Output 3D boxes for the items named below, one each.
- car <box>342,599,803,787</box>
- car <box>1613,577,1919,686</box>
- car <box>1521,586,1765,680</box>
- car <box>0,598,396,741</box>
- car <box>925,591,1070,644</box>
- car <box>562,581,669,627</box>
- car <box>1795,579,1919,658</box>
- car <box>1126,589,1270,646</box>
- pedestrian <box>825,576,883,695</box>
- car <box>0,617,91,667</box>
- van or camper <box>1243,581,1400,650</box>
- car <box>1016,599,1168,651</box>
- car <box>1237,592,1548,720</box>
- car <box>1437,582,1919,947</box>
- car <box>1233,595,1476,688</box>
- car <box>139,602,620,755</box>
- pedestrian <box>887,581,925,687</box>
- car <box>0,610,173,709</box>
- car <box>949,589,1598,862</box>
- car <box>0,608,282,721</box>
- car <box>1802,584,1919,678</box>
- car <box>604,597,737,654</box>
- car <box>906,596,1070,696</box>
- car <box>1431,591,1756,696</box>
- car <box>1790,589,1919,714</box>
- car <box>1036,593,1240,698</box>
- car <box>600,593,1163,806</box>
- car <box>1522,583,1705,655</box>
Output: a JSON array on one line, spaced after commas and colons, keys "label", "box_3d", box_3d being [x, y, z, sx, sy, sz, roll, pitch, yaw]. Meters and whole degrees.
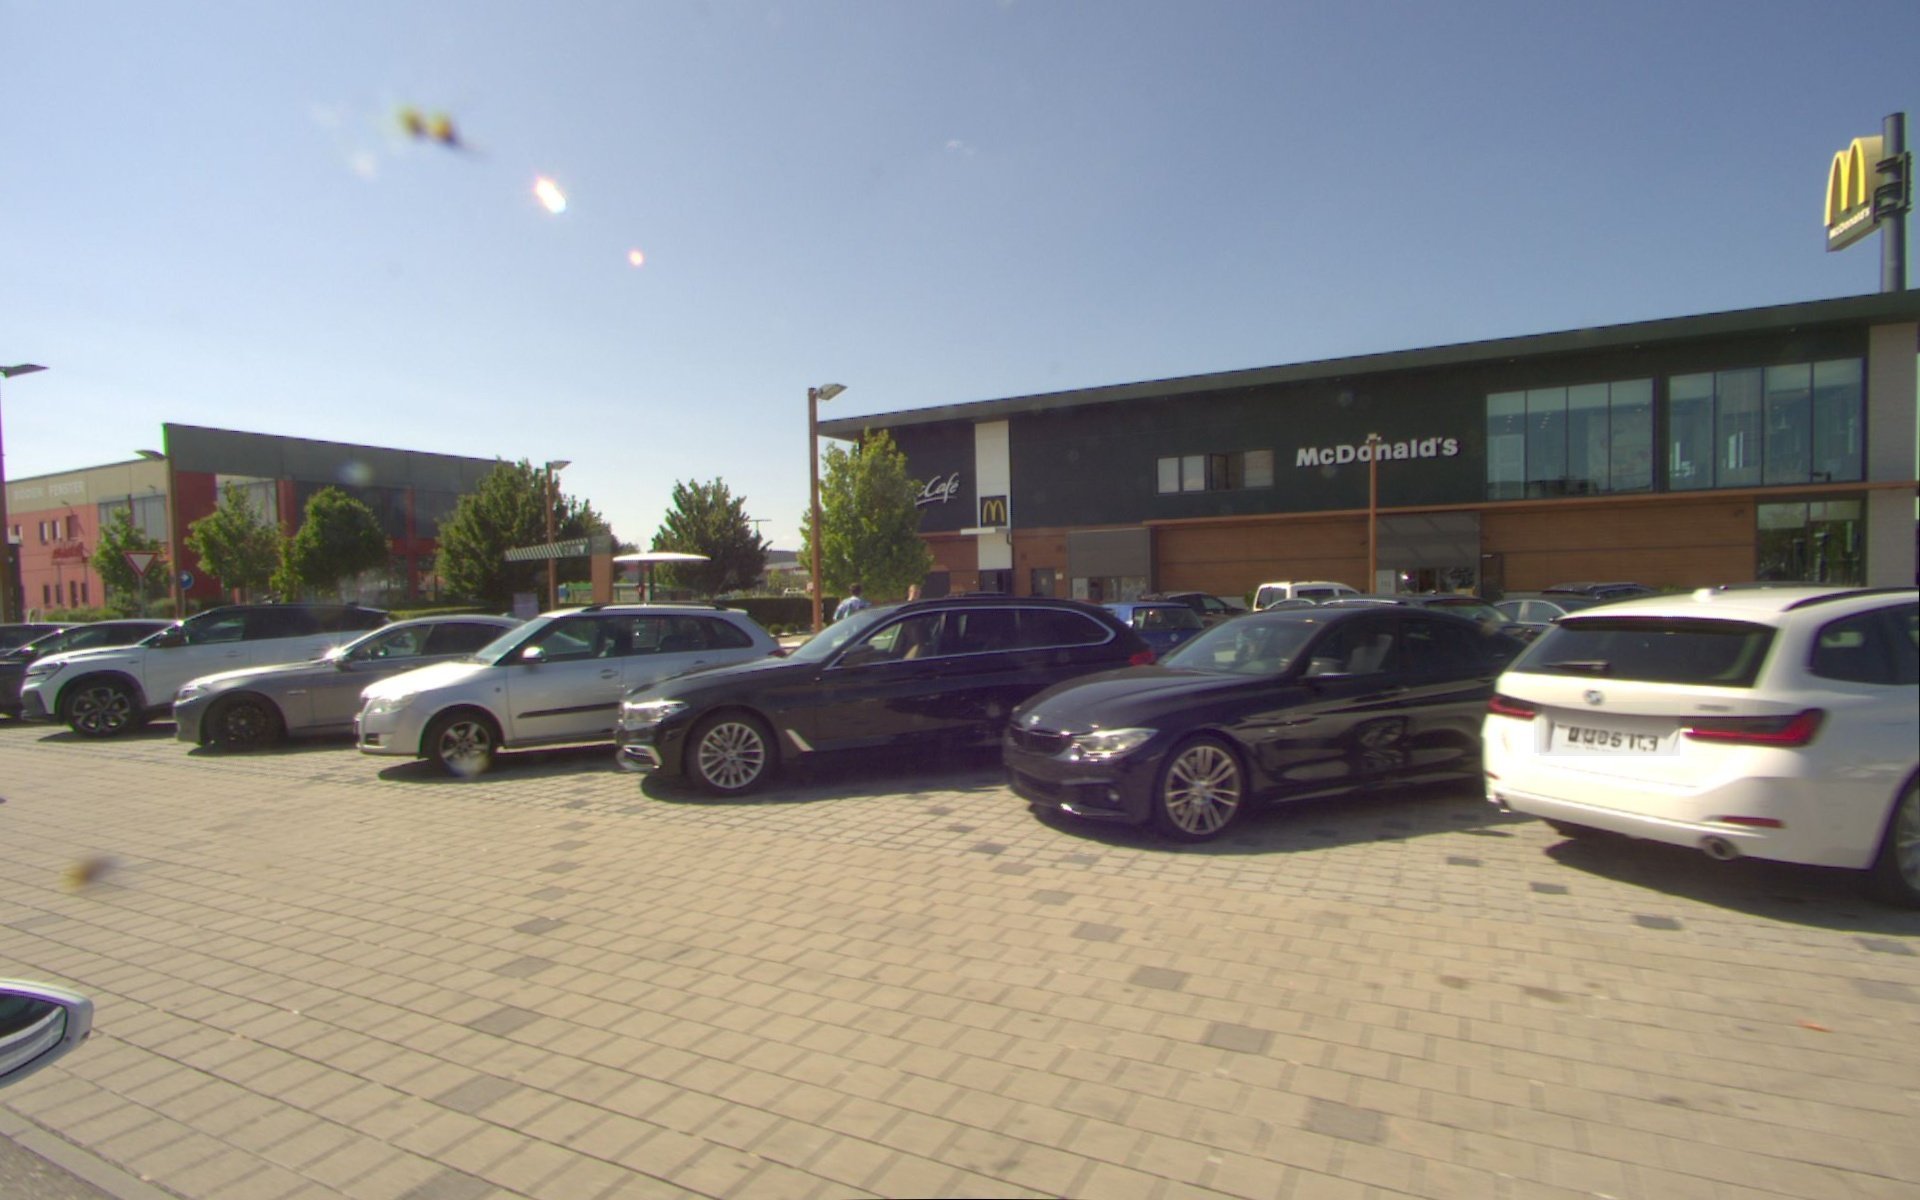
[{"label": "car", "box_3d": [-3.942, 0.788, 10.386, 4.150, 1.546, 1.963, -1, 0, -33]}, {"label": "car", "box_3d": [13.491, 0.429, 16.367, 1.862, 1.507, 4.636, -2, 0, -16]}, {"label": "car", "box_3d": [13.948, 0.649, 20.713, 3.891, 1.798, 1.649, -1, 0, 23]}, {"label": "car", "box_3d": [-10.250, 0.842, 13.923, 4.147, 1.676, 1.965, -1, 0, -31]}, {"label": "car", "box_3d": [1.239, 0.533, 33.027, 4.395, 1.624, 1.956, -1, 0, -23]}, {"label": "car", "box_3d": [-17.274, 0.192, 50.468, 1.969, 2.226, 5.084, 0, 0, 28]}, {"label": "car", "box_3d": [20.970, 0.369, 22.398, 3.966, 1.634, 1.713, -1, 0, -19]}, {"label": "car", "box_3d": [7.066, 0.533, 29.730, 3.885, 1.534, 1.710, -1, -2, -23]}, {"label": "pedestrian", "box_3d": [-1.727, 0.566, 16.263, 0.819, 1.874, 0.769, -1, 1, -13]}, {"label": "car", "box_3d": [-30.545, 1.352, 31.903, 1.652, 1.515, 3.979, -1, 0, 31]}, {"label": "van or camper", "box_3d": [10.078, 0.409, 27.909, 3.960, 1.798, 1.707, -1, 0, -20]}, {"label": "car", "box_3d": [4.130, 0.744, 31.301, 4.398, 1.485, 1.954, -1, 0, -26]}, {"label": "car", "box_3d": [5.946, 0.687, 14.403, 1.781, 1.507, 4.272, -2, 0, -16]}, {"label": "car", "box_3d": [5.178, 0.651, 5.715, 4.506, 1.479, 1.831, -1, 0, -21]}, {"label": "car", "box_3d": [7.319, 0.696, 19.158, 1.862, 1.507, 4.636, -2, 0, -16]}, {"label": "car", "box_3d": [-6.814, 0.836, 12.380, 4.769, 1.546, 1.968, -1, 0, -25]}, {"label": "pedestrian", "box_3d": [-0.923, 0.573, 17.181, 0.460, 1.792, 0.550, -1, 1, -25]}, {"label": "car", "box_3d": [-16.389, 0.995, 17.016, 4.257, 1.547, 1.970, -1, 1, -19]}, {"label": "car", "box_3d": [2.256, 0.691, 7.212, 4.298, 1.479, 1.831, -1, 0, -22]}, {"label": "car", "box_3d": [-13.134, 0.929, 15.454, 4.141, 1.546, 1.967, -1, 0, -26]}, {"label": "car", "box_3d": [16.510, 0.479, 15.835, 1.862, 1.507, 4.636, -2, 0, -16]}, {"label": "car", "box_3d": [-9.415, 0.788, 32.935, 1.963, 1.714, 4.223, 0, 1, 23]}, {"label": "car", "box_3d": [0.356, 0.723, 17.680, 1.681, 1.513, 4.107, -2, 0, -16]}, {"label": "car", "box_3d": [10.570, 0.650, 17.198, 1.862, 1.507, 4.636, -2, 0, -16]}, {"label": "car", "box_3d": [12.202, 0.583, 11.277, 1.781, 1.432, 4.107, -2, 0, -16]}, {"label": "car", "box_3d": [2.879, 0.686, 17.175, 1.781, 1.535, 4.107, -2, 0, -16]}, {"label": "car", "box_3d": [-0.731, 0.726, 9.034, 4.702, 1.506, 1.970, -1, 0, -21]}, {"label": "car", "box_3d": [16.049, 0.438, 24.619, 3.966, 1.634, 1.713, -1, 0, -19]}]
